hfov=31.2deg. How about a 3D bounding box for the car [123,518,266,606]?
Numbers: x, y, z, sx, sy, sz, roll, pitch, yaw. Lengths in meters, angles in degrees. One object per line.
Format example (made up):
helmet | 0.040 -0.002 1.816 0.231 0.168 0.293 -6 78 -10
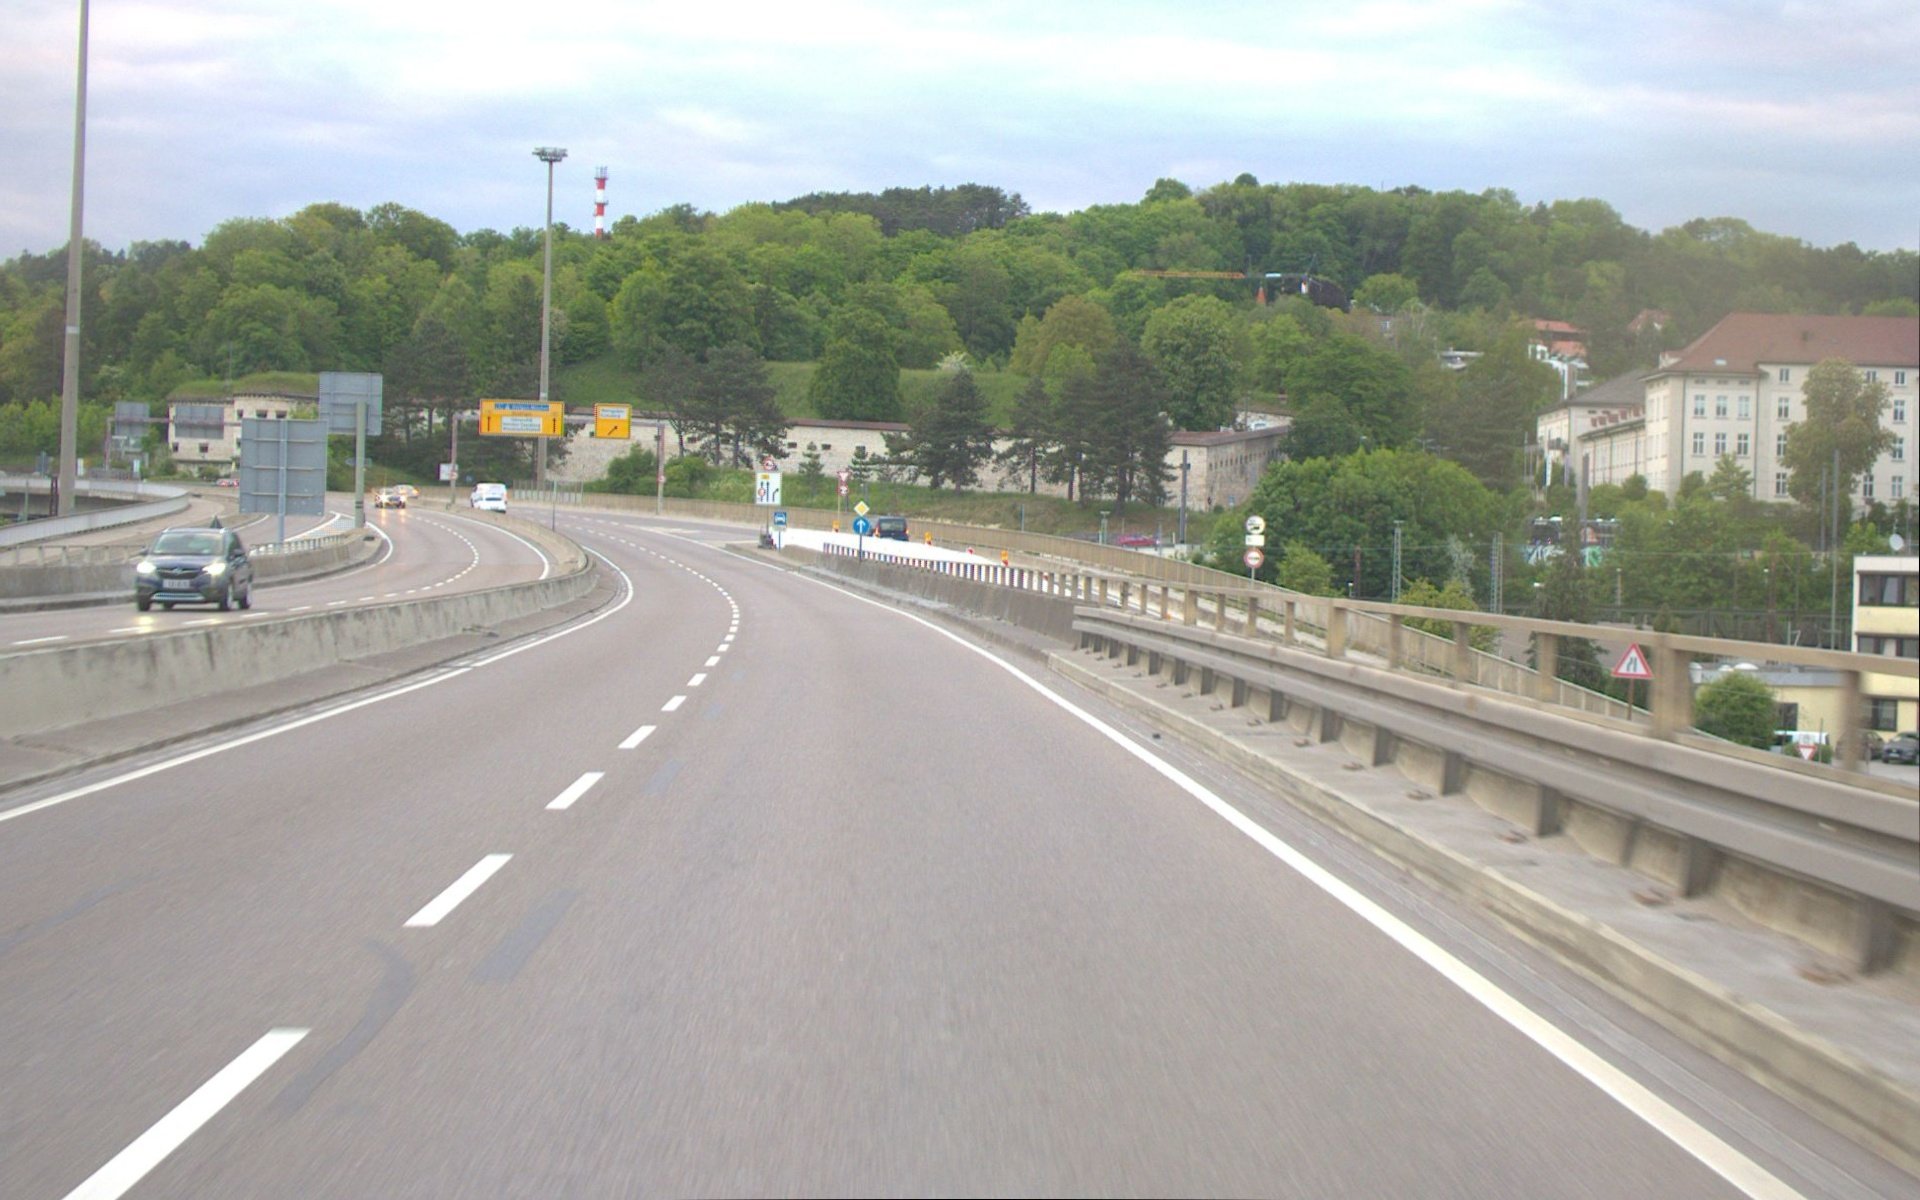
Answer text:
car | -14.572 -0.735 65.647 1.976 1.600 4.442 1 1 -4

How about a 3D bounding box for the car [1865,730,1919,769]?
car | 46.160 7.327 167.390 3.987 1.560 1.832 5 3 -37

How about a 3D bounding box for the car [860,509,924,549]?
car | -3.287 -3.446 165.507 2.304 1.757 4.264 2 2 -11

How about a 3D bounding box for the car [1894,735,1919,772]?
car | 46.447 7.384 163.253 3.987 1.560 1.832 5 3 -37

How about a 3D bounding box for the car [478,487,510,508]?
car | -32.234 -7.104 237.879 1.630 1.383 4.002 0 3 -16

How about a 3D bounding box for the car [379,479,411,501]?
car | -40.341 -7.874 245.446 1.828 1.475 4.288 1 1 -15

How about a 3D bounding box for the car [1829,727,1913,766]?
car | 45.191 7.271 170.525 3.987 1.560 1.832 5 3 -37
